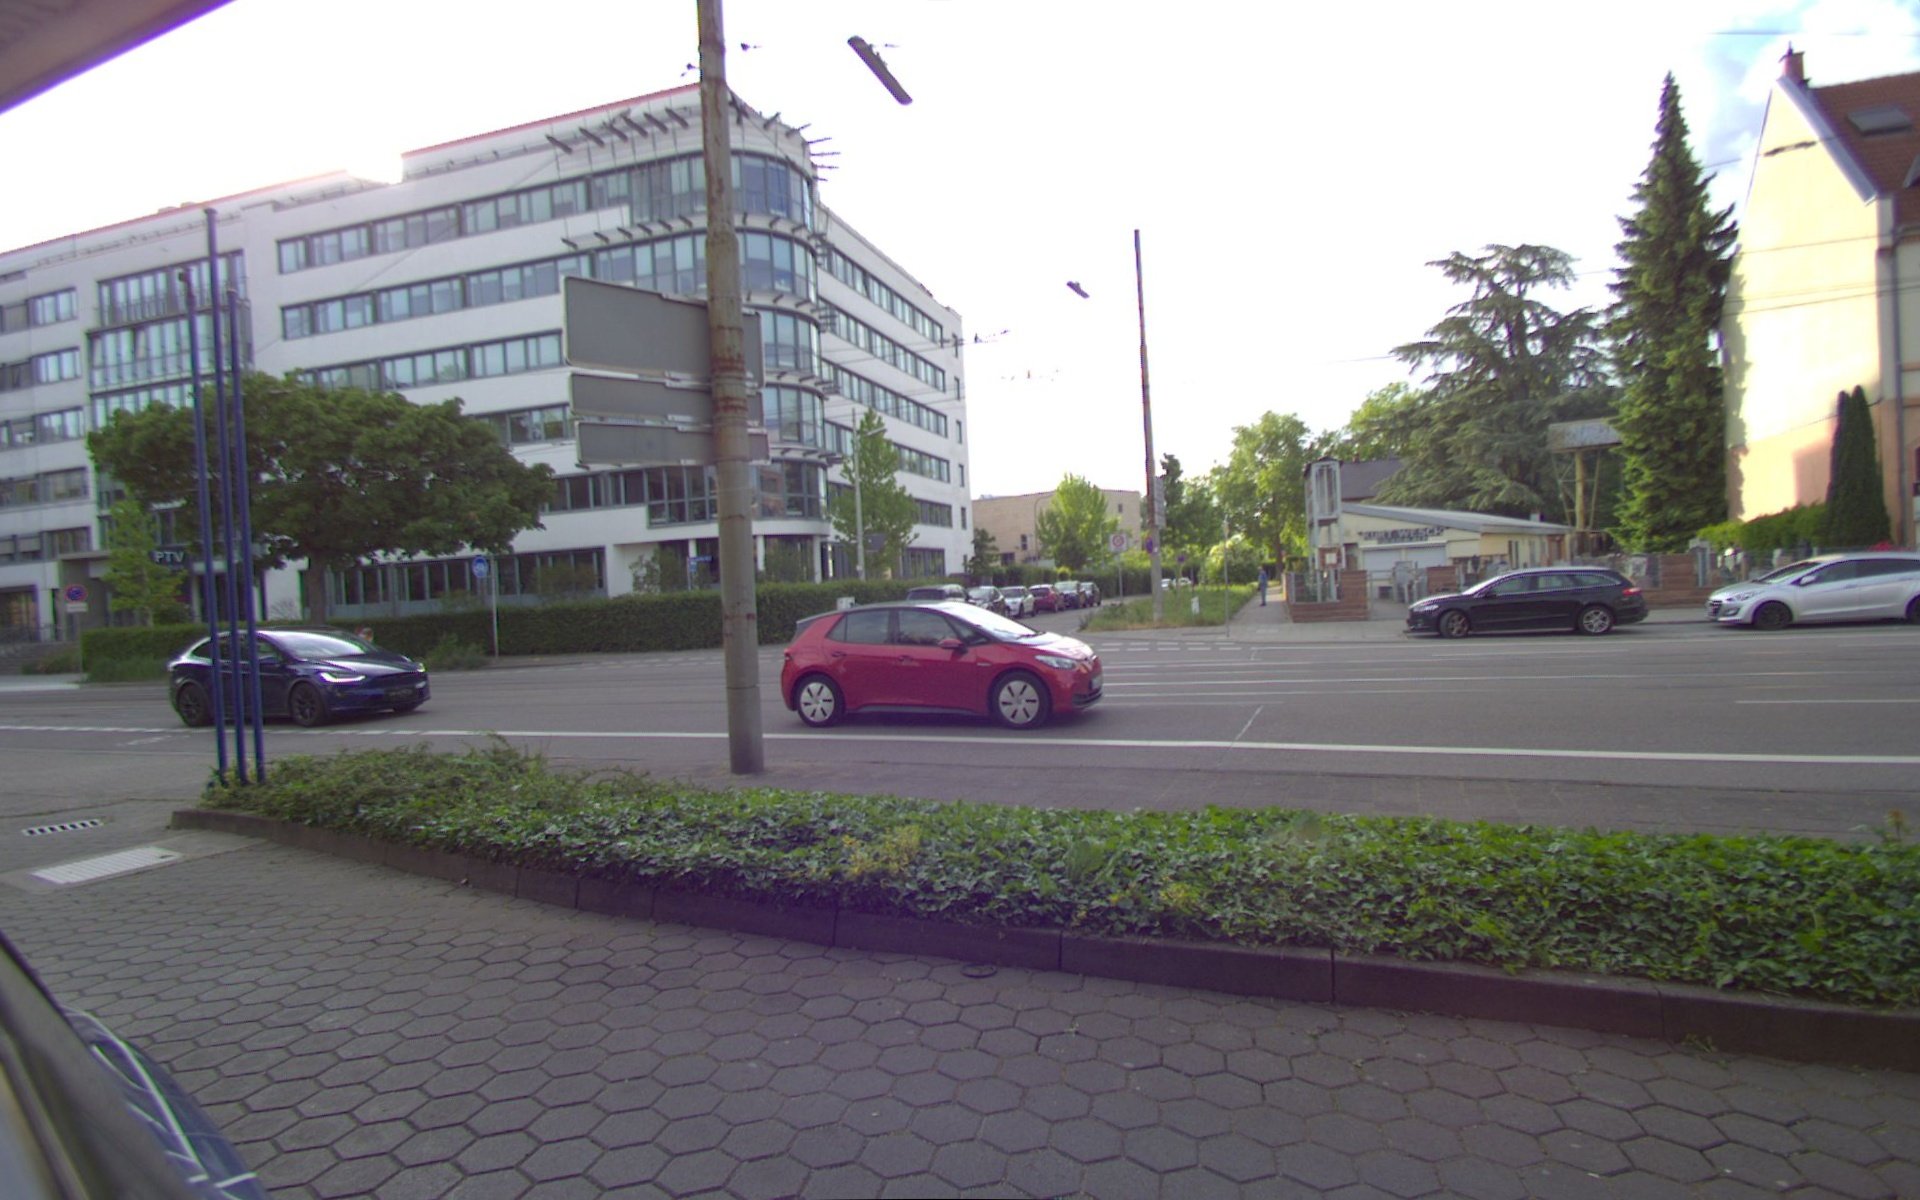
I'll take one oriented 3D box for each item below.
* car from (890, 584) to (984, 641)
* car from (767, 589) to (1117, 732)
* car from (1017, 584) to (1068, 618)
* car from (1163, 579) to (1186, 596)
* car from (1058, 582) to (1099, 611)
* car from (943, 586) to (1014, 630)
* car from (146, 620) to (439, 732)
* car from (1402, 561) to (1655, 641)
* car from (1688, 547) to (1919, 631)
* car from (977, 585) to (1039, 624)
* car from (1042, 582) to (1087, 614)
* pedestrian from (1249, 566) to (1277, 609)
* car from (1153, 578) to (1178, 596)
[{"bbox_3d":[-0.712,0.379,35.536,1.962,1.625,4.411,-4,2,17],"label":"car"},{"bbox_3d":[-0.222,0.763,13.029,4.103,1.554,1.757,-3,2,23],"label":"car"},{"bbox_3d":[4.297,0.017,52.360,1.773,1.552,4.018,-4,0,17],"label":"car"},{"bbox_3d":[22.574,-1.317,106.311,1.774,1.653,4.060,-4,0,19],"label":"car"},{"bbox_3d":[7.383,-0.241,62.671,1.773,1.653,4.064,-4,0,17],"label":"car"},{"bbox_3d":[0.808,0.286,40.894,1.773,1.565,4.083,-4,0,17],"label":"car"},{"bbox_3d":[-11.712,1.336,17.749,4.816,1.669,1.758,-3,2,21],"label":"car"},{"bbox_3d":[12.927,0.044,23.415,4.791,1.507,1.986,-3,0,22],"label":"car"},{"bbox_3d":[18.503,-0.256,21.498,4.459,1.486,1.986,-4,0,22],"label":"car"},{"bbox_3d":[2.217,0.172,45.755,1.773,1.565,4.083,-4,0,17],"label":"car"},{"bbox_3d":[5.992,-0.143,57.661,1.773,1.653,4.064,-4,0,17],"label":"car"},{"bbox_3d":[13.088,-0.531,43.730,1.000,1.843,1.083,-1,0,25],"label":"pedestrian"},{"bbox_3d":[20.436,-1.287,100.613,1.774,1.653,4.060,-4,0,19],"label":"car"}]
